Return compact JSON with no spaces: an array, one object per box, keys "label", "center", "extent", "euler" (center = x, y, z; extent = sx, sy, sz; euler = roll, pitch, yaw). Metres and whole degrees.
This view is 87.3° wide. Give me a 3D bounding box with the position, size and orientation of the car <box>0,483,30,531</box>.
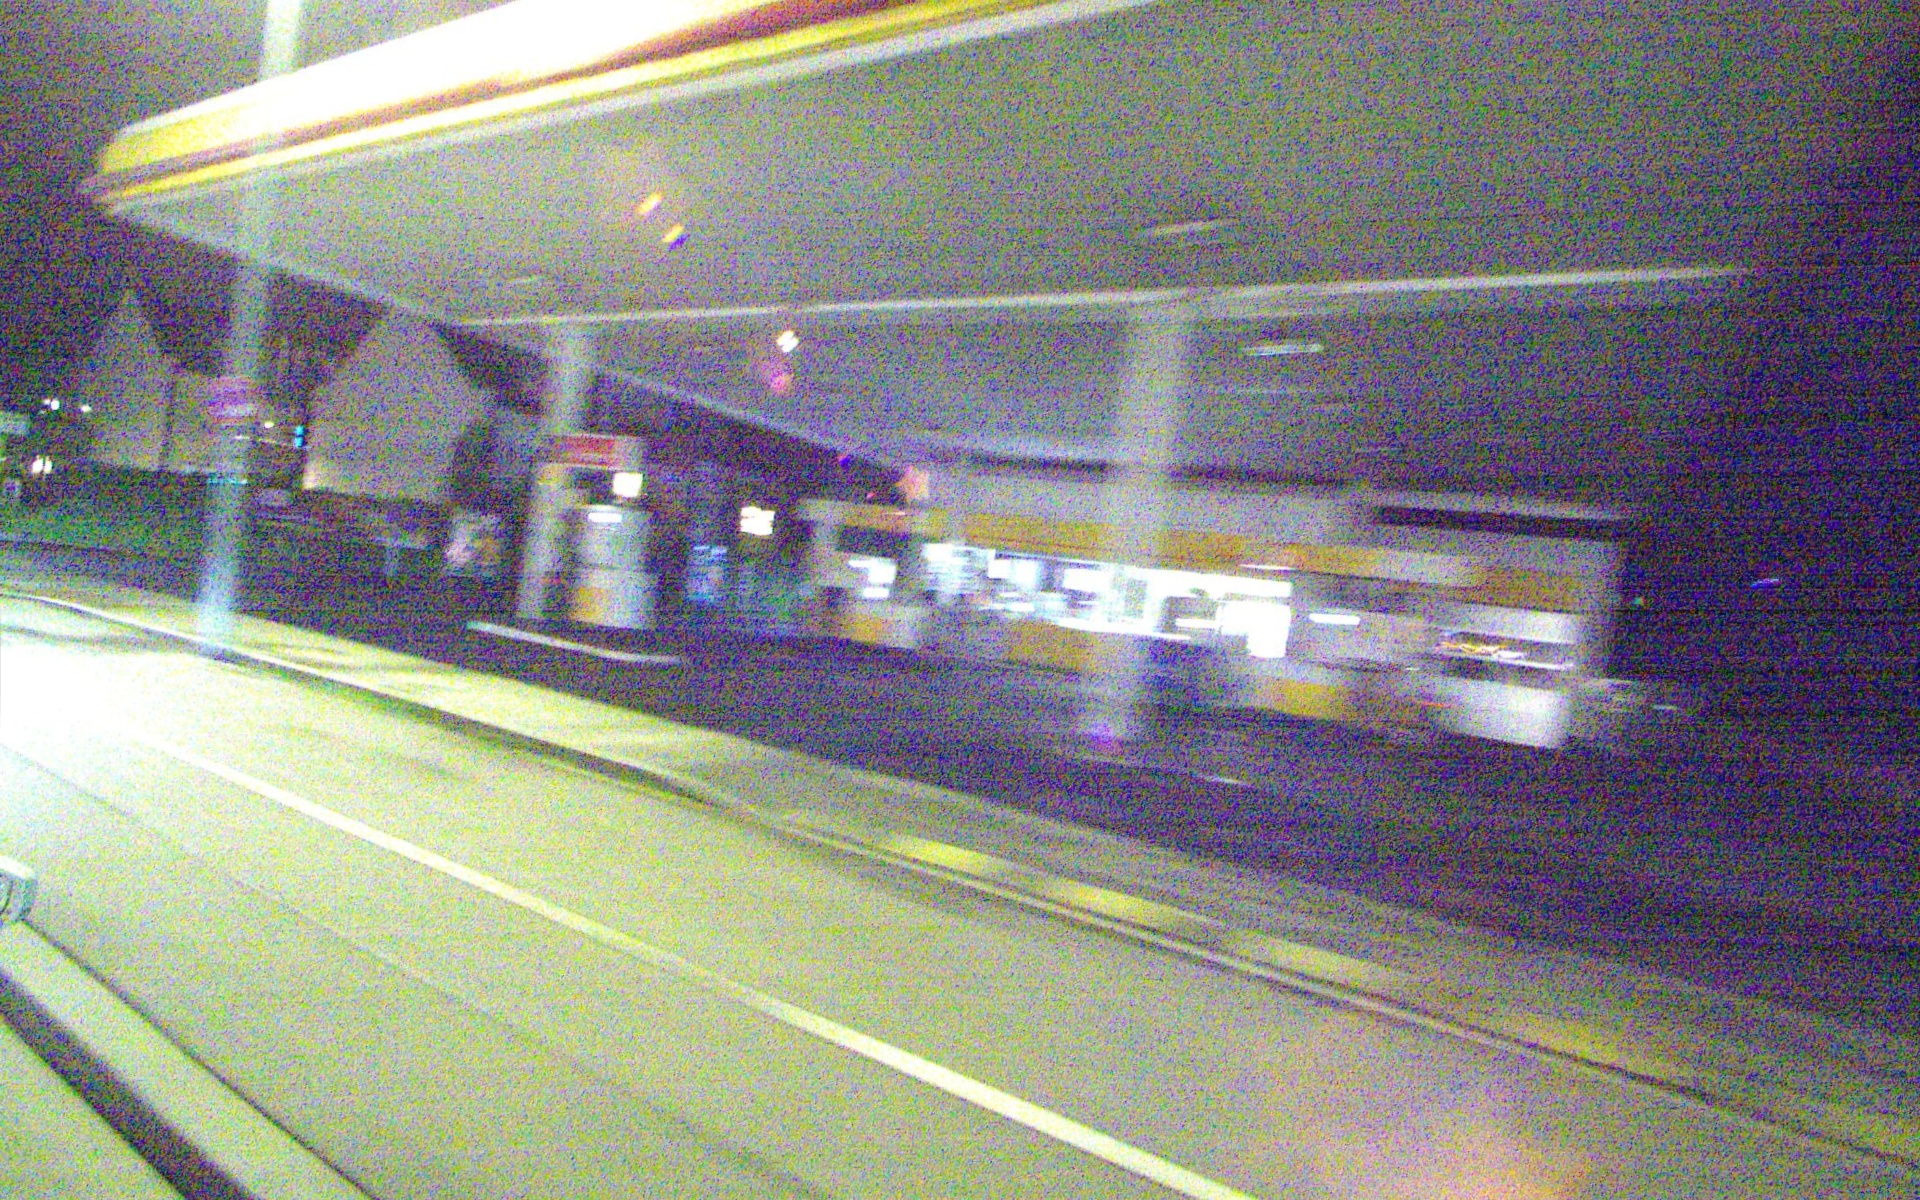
[{"label":"car","center":[-31.313,-3.122,30.809],"extent":[1.829,1.371,3.766],"euler":[8,0,34]}]
